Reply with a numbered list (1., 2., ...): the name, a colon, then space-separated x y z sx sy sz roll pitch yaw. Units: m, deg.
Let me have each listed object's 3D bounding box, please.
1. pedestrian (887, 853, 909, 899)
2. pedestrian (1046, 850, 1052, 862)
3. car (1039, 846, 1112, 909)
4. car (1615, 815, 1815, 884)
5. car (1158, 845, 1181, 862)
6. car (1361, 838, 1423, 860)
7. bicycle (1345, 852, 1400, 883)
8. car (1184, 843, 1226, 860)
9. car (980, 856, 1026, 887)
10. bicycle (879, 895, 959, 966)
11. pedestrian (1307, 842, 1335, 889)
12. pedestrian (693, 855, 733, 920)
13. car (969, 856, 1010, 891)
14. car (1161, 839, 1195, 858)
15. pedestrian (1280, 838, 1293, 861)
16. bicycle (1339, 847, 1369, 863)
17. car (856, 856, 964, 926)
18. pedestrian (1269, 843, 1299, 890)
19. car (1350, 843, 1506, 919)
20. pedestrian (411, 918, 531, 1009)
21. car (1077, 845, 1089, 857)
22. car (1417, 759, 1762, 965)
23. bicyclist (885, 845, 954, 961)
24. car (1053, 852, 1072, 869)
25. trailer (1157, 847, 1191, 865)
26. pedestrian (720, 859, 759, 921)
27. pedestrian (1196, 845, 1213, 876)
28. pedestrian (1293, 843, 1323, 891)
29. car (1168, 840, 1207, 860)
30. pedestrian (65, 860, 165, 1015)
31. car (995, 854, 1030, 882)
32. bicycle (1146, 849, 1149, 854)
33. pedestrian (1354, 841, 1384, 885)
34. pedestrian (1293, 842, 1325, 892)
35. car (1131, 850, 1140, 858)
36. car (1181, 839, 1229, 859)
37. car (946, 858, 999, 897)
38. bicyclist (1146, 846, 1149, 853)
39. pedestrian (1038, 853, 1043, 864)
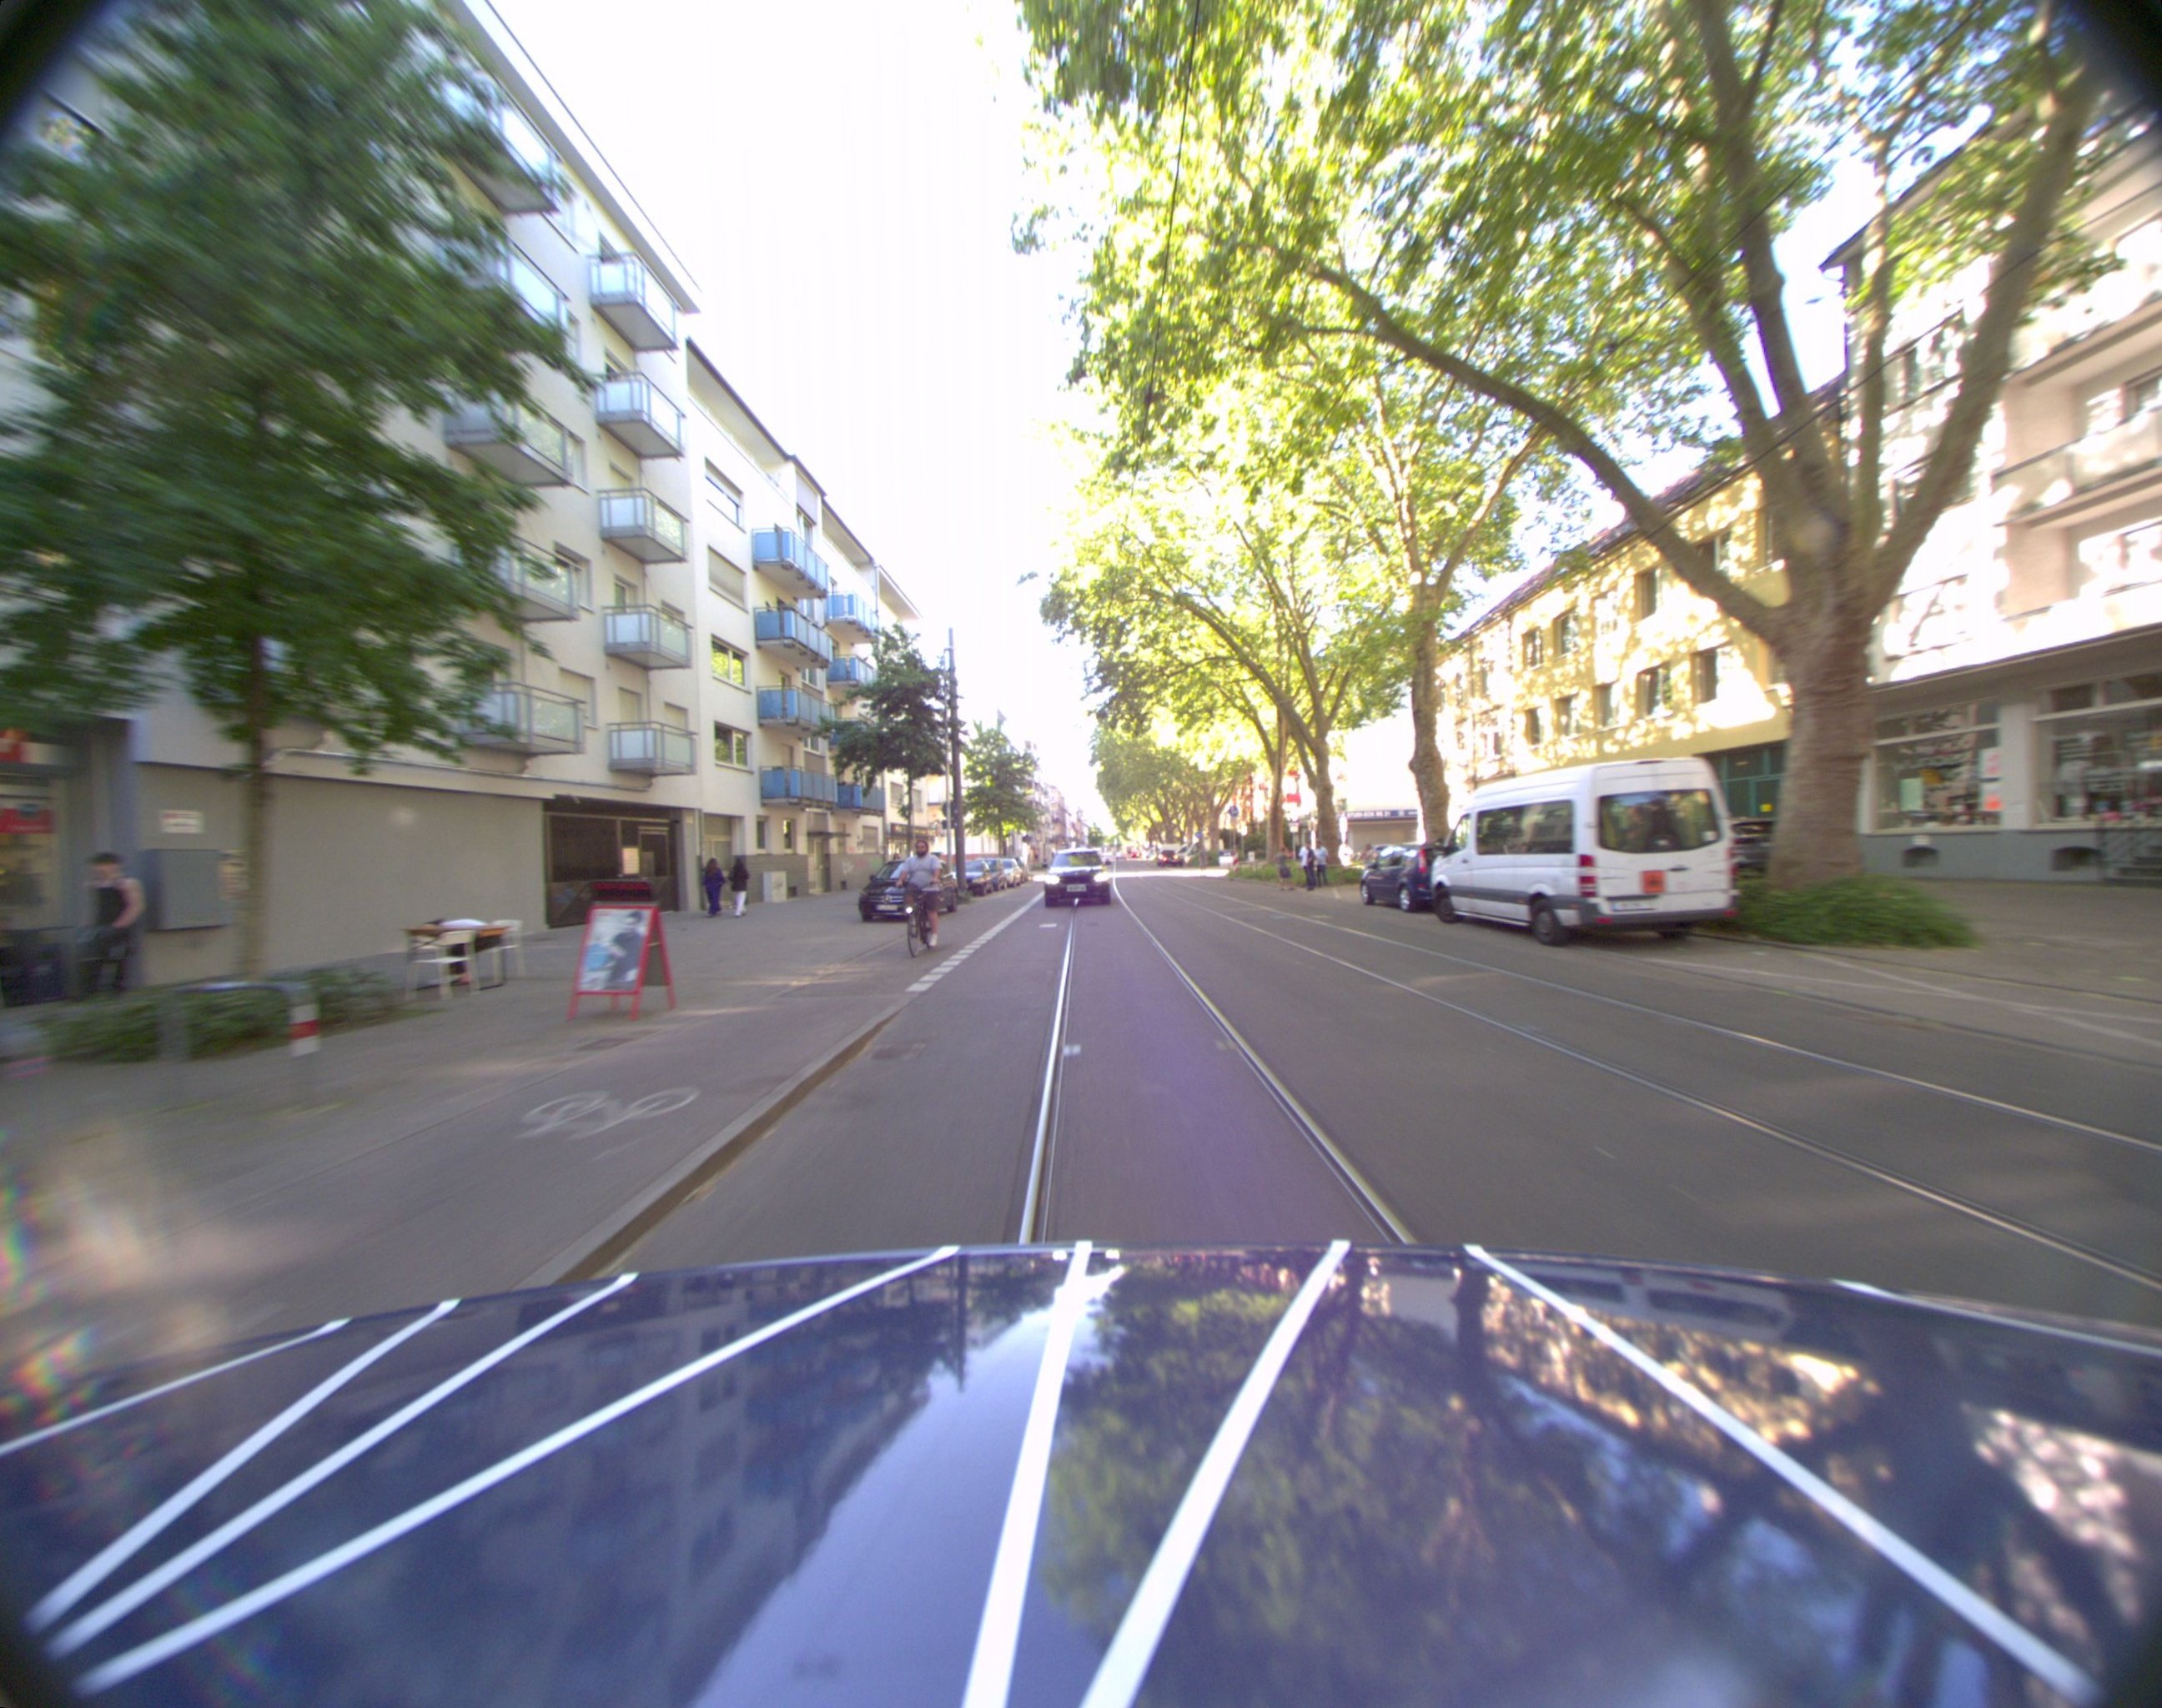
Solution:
1. pedestrian: -7.433 0.898 30.931 0.663 1.841 0.539 -2 1 1
2. pedestrian: -4.736 0.319 112.613 0.697 1.685 0.678 -3 1 2
3. car: -0.081 0.646 24.207 1.998 1.723 4.400 -2 1 3
4. car: 18.536 -0.159 22.589 1.998 1.723 4.898 -3 1 3
5. car: 9.119 -0.047 78.640 1.928 1.674 4.182 0 1 1
6. car: 24.732 -0.403 60.488 4.152 1.469 1.834 -3 1 2
7. bicycle: 11.027 0.514 28.737 1.847 1.073 0.570 -2 1 30
8. car: 12.565 -0.246 77.177 3.997 1.600 1.909 -3 0 1
9. car: -3.980 0.863 39.462 1.790 1.528 4.128 0 0 2
10. bicycle: -2.657 1.244 12.733 0.790 0.932 1.939 -3 1 3
11. pedestrian: 9.065 0.416 28.678 0.770 1.725 0.717 -3 1 2
12. pedestrian: -9.826 0.880 20.325 0.597 1.668 0.934 0 1 0
13. car: -4.227 0.876 35.474 1.447 1.528 2.881 0 0 2
14. car: 14.159 -0.801 111.103 4.660 2.518 2.000 -3 1 3
15. pedestrian: 15.981 -0.341 58.990 0.724 1.770 0.669 -3 2 -7
16. bicycle: 19.404 0.067 54.058 1.867 1.056 0.656 -3 1 -5
17. car: -4.472 0.907 20.511 1.763 1.578 4.329 1 1 2
18. pedestrian: 7.644 0.456 28.643 0.772 1.725 0.712 -4 2 -40
19. car: 8.262 0.555 18.580 1.921 1.553 4.283 -3 1 2
20. pedestrian: -7.988 1.402 9.985 0.659 1.021 1.003 -2 1 30
21. car: 0.436 -0.634 144.392 1.990 2.085 4.470 -3 1 3
22. car: 7.875 0.066 12.805 2.112 2.562 6.025 -3 1 5
23. bicyclist: -2.674 0.777 12.712 0.769 1.821 1.099 -3 1 3
24. car: -2.310 0.773 94.231 1.957 1.914 4.000 -3 1 3
25. trailer: 8.875 0.172 73.026 2.452 1.622 6.583 0 1 1
26. pedestrian: -9.130 0.941 20.328 0.643 1.628 0.870 0 1 1
27. pedestrian: 7.295 0.360 44.921 0.700 1.781 0.801 -3 1 -10
28. pedestrian: 8.418 0.483 28.154 0.768 1.725 0.715 -2 2 44
29. car: 13.462 -0.543 96.426 4.660 2.293 2.000 -3 1 3
30. pedestrian: -11.539 0.978 9.087 0.432 1.786 0.489 -3 1 1
31. car: -4.040 0.787 45.400 1.724 1.562 4.258 0 1 -1
32. bicycle: 13.019 -0.534 148.522 0.533 0.901 1.557 -3 1 3
33. pedestrian: 10.647 0.336 28.065 0.768 1.600 0.715 -2 2 44
34. pedestrian: 8.202 0.466 27.381 0.715 1.767 0.769 -4 2 -34
35. car: 13.047 0.084 182.368 1.998 1.723 4.400 -3 1 3
36. car: 14.263 -0.607 87.748 5.134 1.984 1.999 -3 1 -2
37. car: -4.438 0.914 31.522 1.626 1.473 3.889 0 0 0
38. bicyclist: 13.011 -0.869 148.512 0.533 1.206 0.666 -3 1 3
39. pedestrian: -5.837 0.617 108.878 0.590 1.493 0.600 -3 1 2
